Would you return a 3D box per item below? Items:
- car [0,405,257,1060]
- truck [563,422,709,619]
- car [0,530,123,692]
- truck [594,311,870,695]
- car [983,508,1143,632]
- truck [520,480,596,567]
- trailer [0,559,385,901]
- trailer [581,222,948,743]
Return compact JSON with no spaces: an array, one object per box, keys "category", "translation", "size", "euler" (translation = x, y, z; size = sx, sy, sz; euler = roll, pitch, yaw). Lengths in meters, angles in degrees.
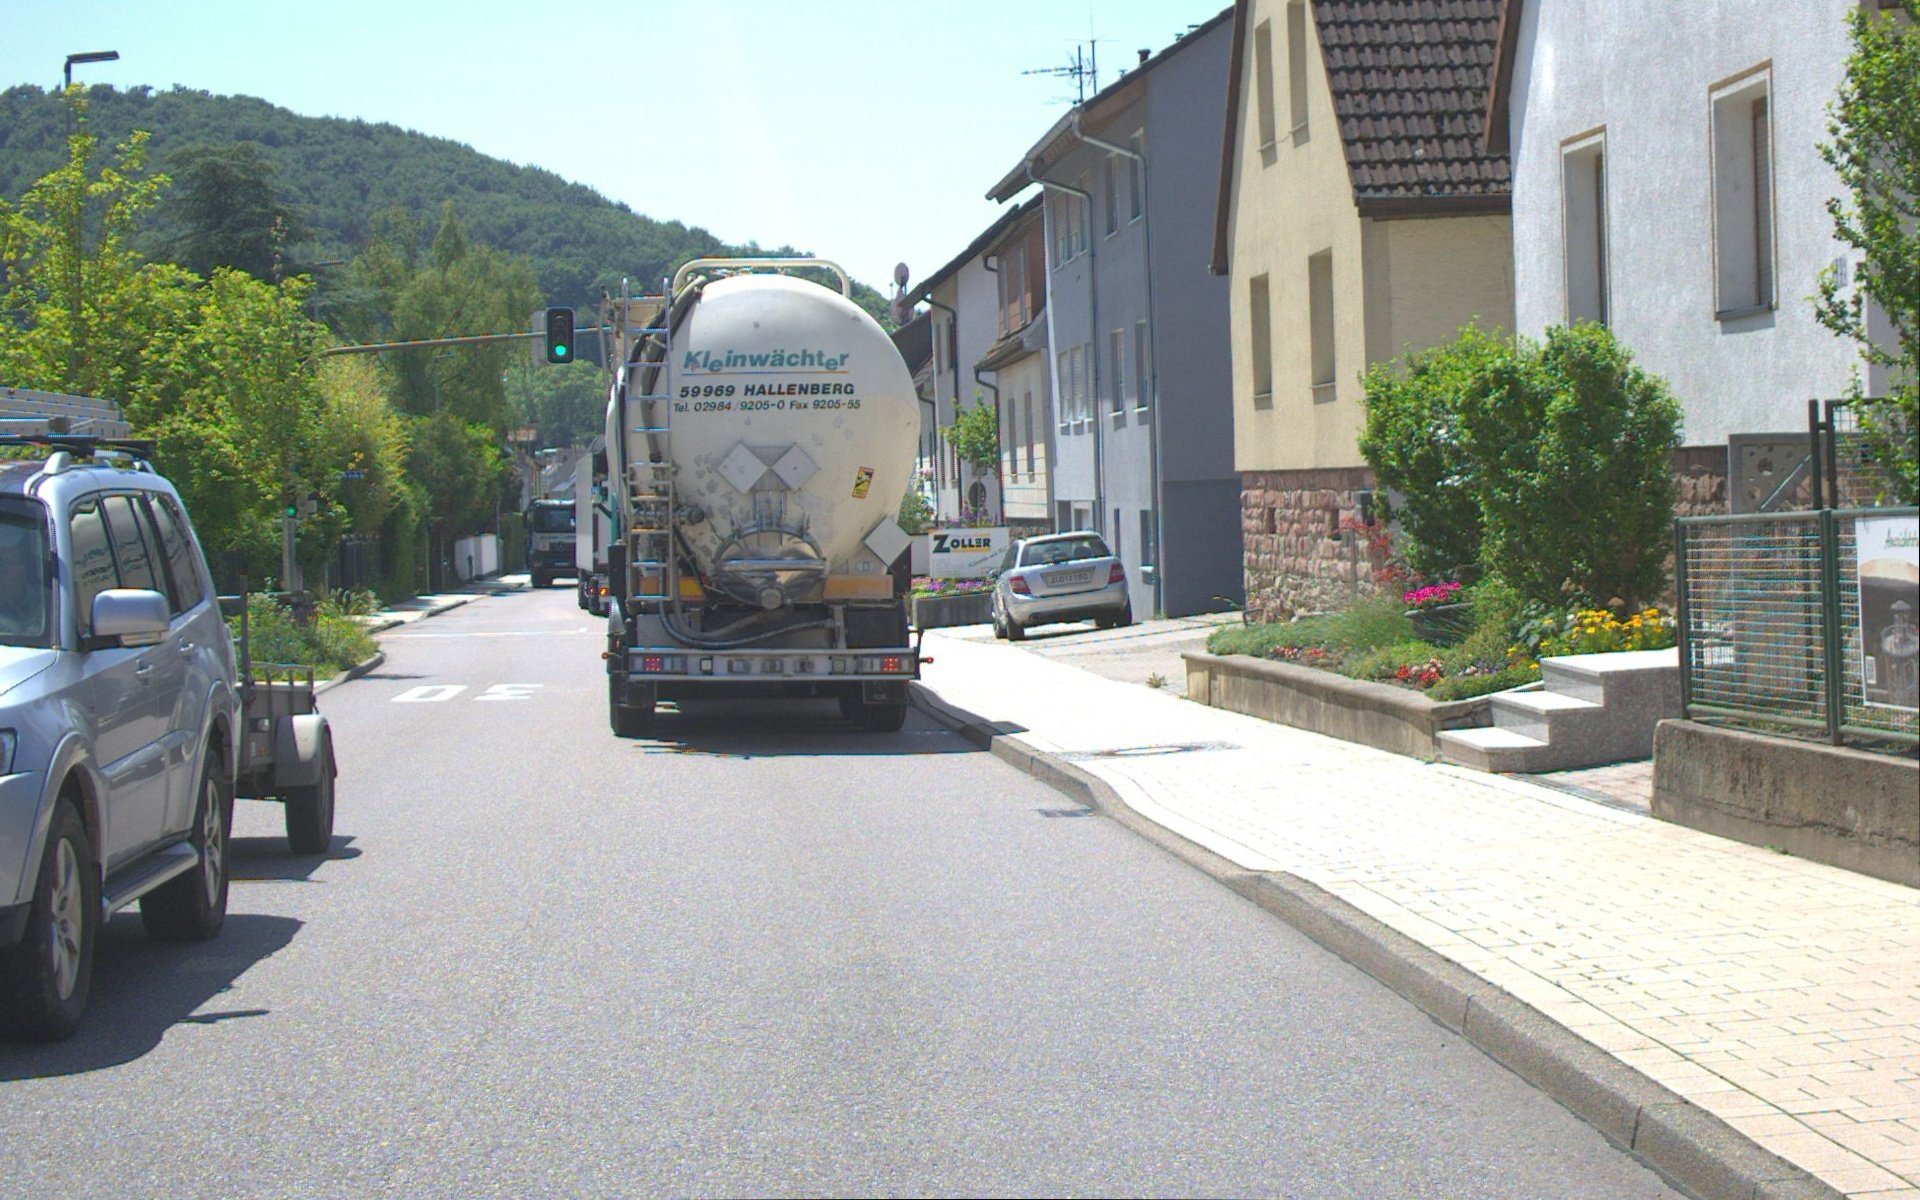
[{"category":"car","translation":[-3.718,0.356,11.963],"size":[1.889,1.854,4.578],"euler":[0,1,-4]},{"category":"truck","translation":[-8.374,-1.850,87.608],"size":[2.846,4.663,11.342],"euler":[1,0,-10]},{"category":"car","translation":[-11.663,0.131,38.092],"size":[4.394,1.744,1.878],"euler":[-1,1,-5]},{"category":"truck","translation":[-2.608,-1.031,38.213],"size":[2.808,3.923,6.100],"euler":[0,1,-5]},{"category":"car","translation":[1.429,-0.448,49.463],"size":[1.791,1.536,4.520],"euler":[-6,1,-3]},{"category":"truck","translation":[-16.030,-3.033,137.485],"size":[2.728,3.360,8.636],"euler":[0,1,-5]},{"category":"trailer","translation":[-3.842,0.518,16.441],"size":[1.574,1.391,4.403],"euler":[-1,1,-2]},{"category":"trailer","translation":[-1.985,-0.982,31.599],"size":[2.796,3.987,10.326],"euler":[0,1,-5]}]
